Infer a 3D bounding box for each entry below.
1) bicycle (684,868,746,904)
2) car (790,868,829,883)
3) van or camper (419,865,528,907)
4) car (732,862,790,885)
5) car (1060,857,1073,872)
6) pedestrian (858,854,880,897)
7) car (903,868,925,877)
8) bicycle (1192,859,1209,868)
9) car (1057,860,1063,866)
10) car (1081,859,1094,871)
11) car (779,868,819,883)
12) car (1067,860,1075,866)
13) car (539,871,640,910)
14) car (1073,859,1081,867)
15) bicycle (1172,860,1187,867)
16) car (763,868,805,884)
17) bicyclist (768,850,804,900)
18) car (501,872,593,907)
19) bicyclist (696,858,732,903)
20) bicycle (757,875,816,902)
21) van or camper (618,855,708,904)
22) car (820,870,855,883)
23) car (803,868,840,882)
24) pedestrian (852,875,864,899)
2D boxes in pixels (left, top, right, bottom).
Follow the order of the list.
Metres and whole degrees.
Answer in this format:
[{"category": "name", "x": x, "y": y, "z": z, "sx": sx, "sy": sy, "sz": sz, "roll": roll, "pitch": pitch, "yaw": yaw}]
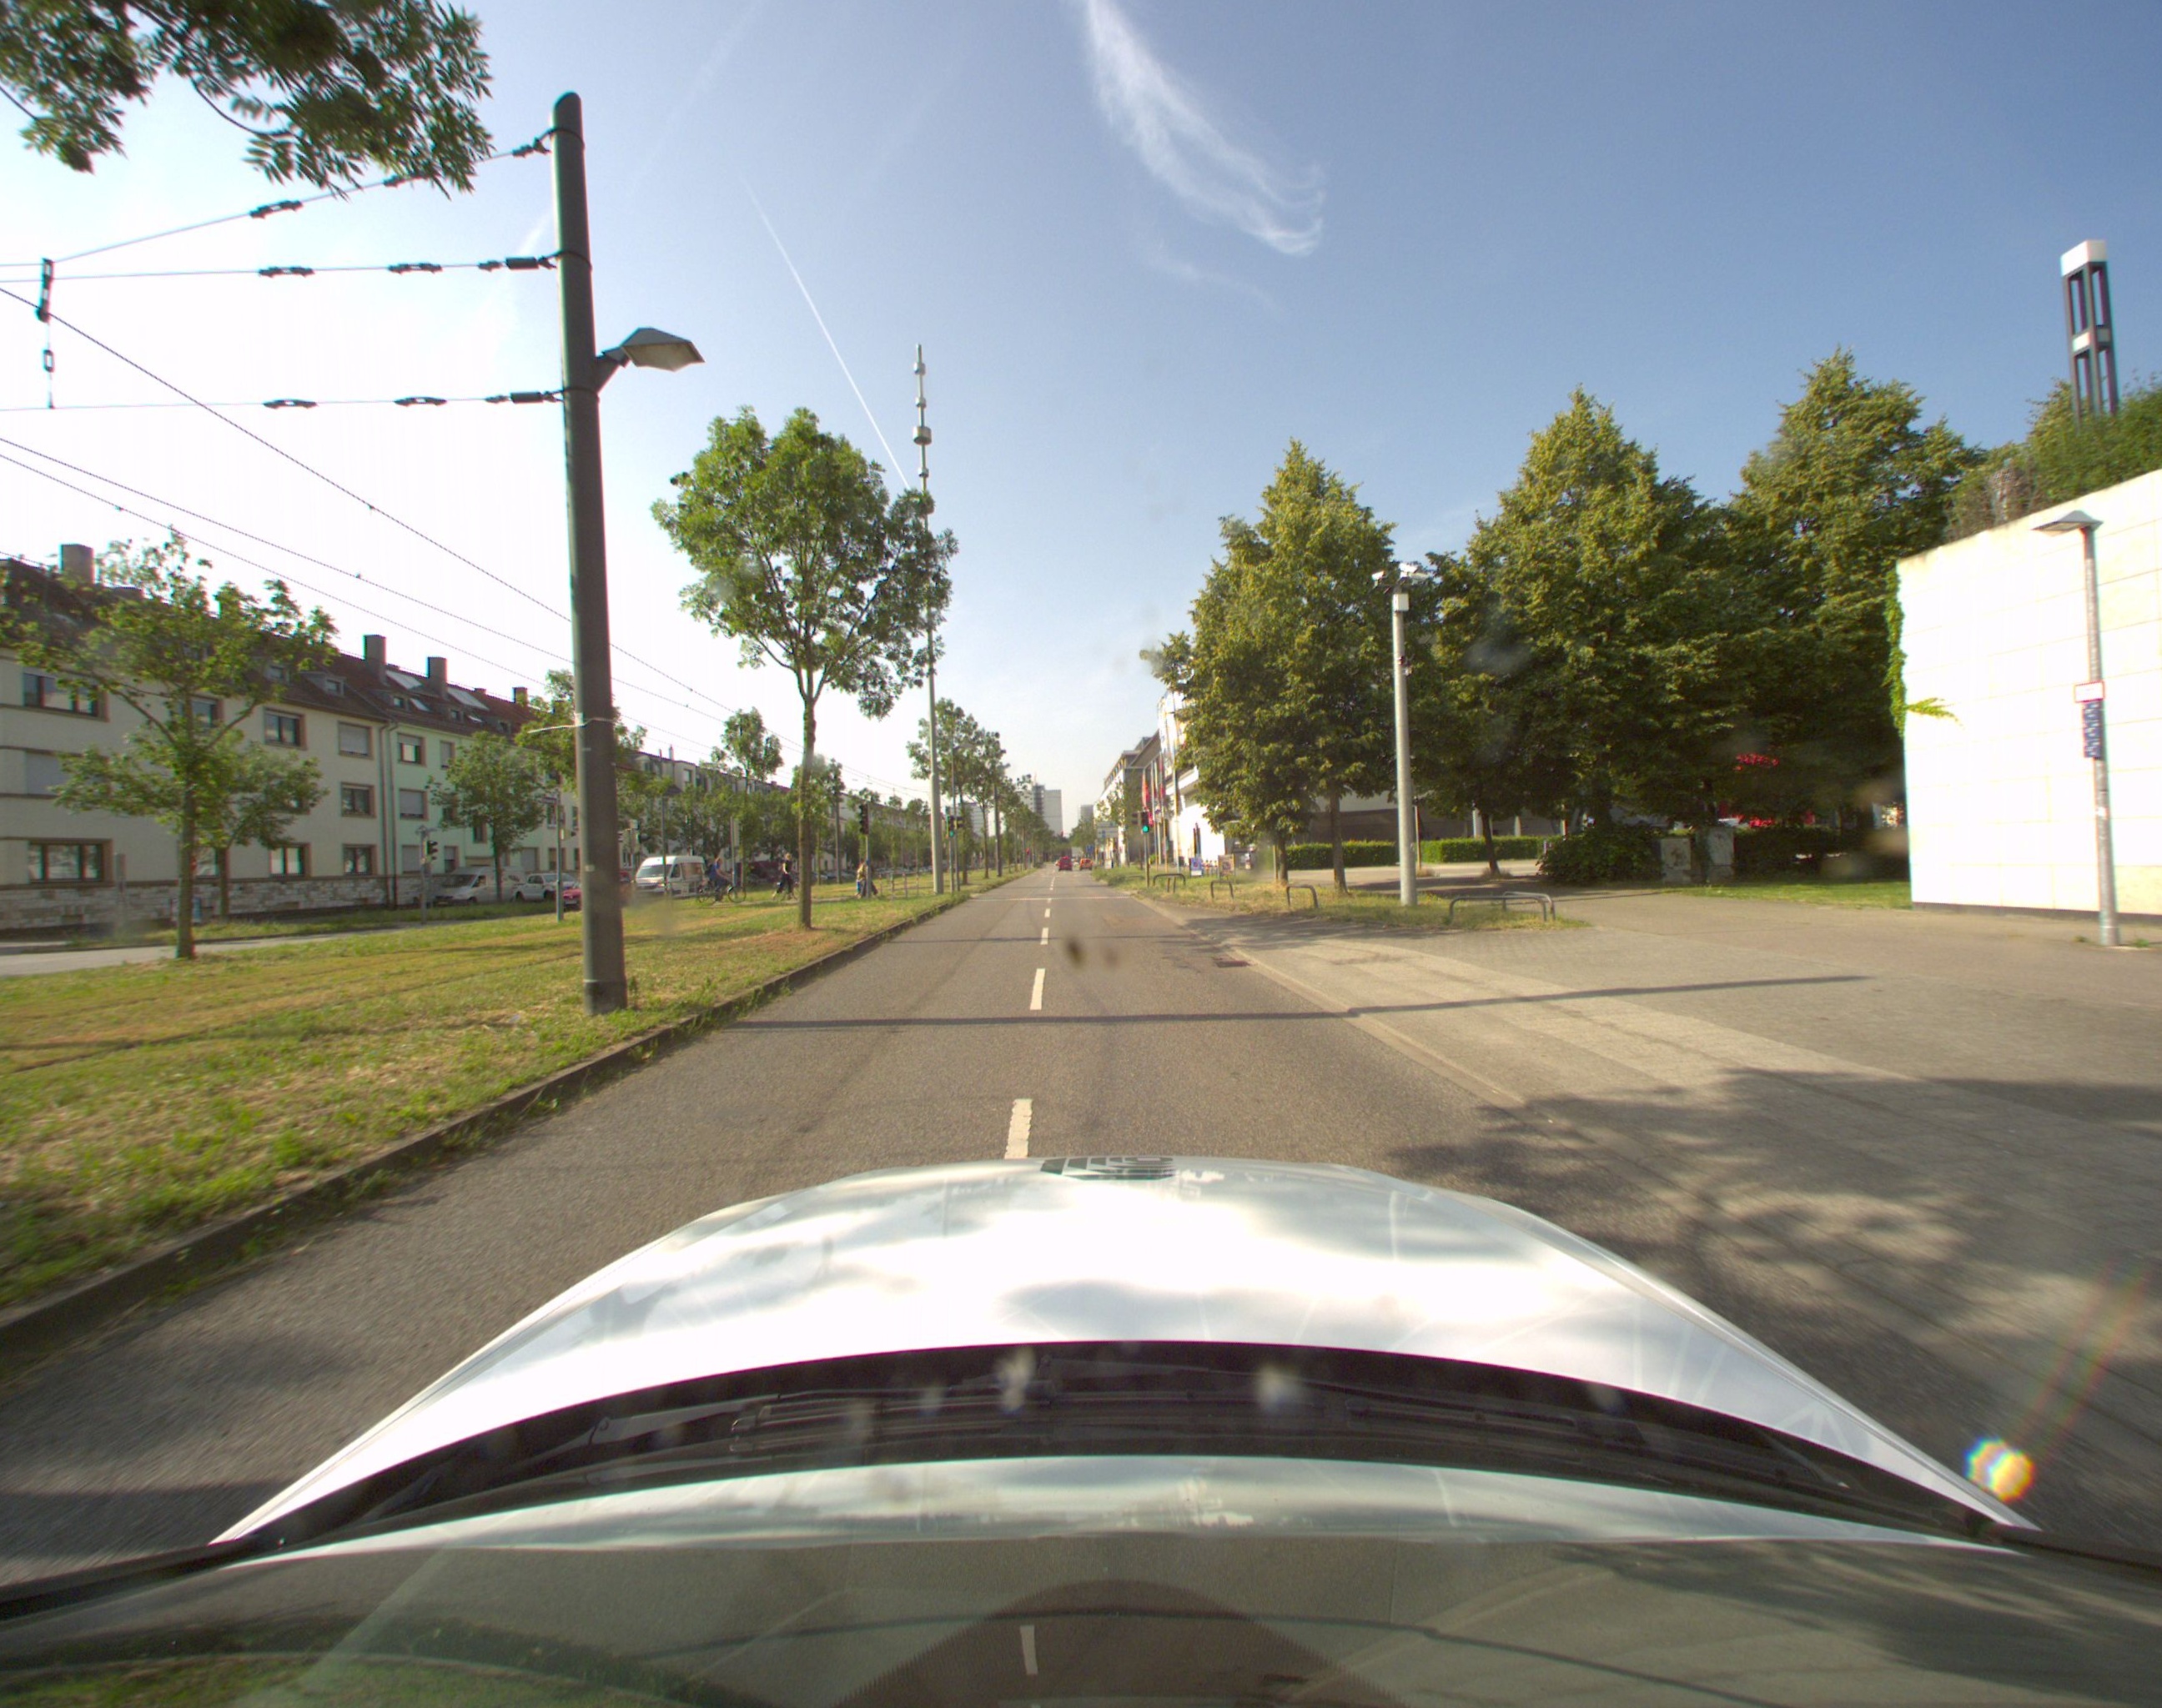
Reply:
[{"category": "bicycle", "x": -14.315, "y": 1.242, "z": 31.904, "sx": 2.065, "sy": 1.324, "sz": 0.781, "roll": -2, "pitch": -1, "yaw": -9}, {"category": "car", "x": -28.928, "y": 2.257, "z": 86.883, "sx": 3.951, "sy": 1.530, "sz": 1.472, "roll": -1, "pitch": -1, "yaw": 24}, {"category": "van or camper", "x": -35.535, "y": 1.793, "z": 47.895, "sx": 1.987, "sy": 2.328, "sz": 5.827, "roll": 0, "pitch": -1, "yaw": 0}, {"category": "car", "x": -29.388, "y": 1.753, "z": 74.773, "sx": 5.171, "sy": 2.014, "sz": 1.887, "roll": -1, "pitch": -1, "yaw": 24}, {"category": "car", "x": -2.009, "y": 1.452, "z": 111.952, "sx": 1.743, "sy": 2.014, "sz": 3.214, "roll": 0, "pitch": -1, "yaw": -1}, {"category": "pedestrian", "x": -7.906, "y": 0.807, "z": 30.371, "sx": 0.623, "sy": 1.572, "sz": 0.710, "roll": 0, "pitch": -1, "yaw": -1}, {"category": "car", "x": -33.569, "y": 3.711, "z": 163.779, "sx": 3.951, "sy": 1.596, "sz": 1.664, "roll": -1, "pitch": -1, "yaw": 24}, {"category": "bicycle", "x": 11.708, "y": 0.949, "z": 79.969, "sx": 1.618, "sy": 0.888, "sz": 0.550, "roll": 0, "pitch": -1, "yaw": -4}, {"category": "car", "x": -5.851, "y": 2.556, "z": 229.119, "sx": 1.743, "sy": 1.650, "sz": 3.214, "roll": 0, "pitch": -1, "yaw": -1}, {"category": "car", "x": 0.952, "y": 1.573, "z": 118.706, "sx": 1.743, "sy": 1.650, "sz": 3.214, "roll": 0, "pitch": -1, "yaw": -1}, {"category": "car", "x": -29.032, "y": 2.222, "z": 83.787, "sx": 3.951, "sy": 1.530, "sz": 1.472, "roll": -1, "pitch": -1, "yaw": 24}, {"category": "car", "x": -2.434, "y": 2.211, "z": 198.946, "sx": 1.744, "sy": 1.650, "sz": 3.212, "roll": 0, "pitch": -1, "yaw": -3}, {"category": "car", "x": -22.771, "y": 1.652, "z": 37.969, "sx": 1.957, "sy": 1.694, "sz": 4.299, "roll": 0, "pitch": -1, "yaw": 2}, {"category": "car", "x": -0.807, "y": 1.910, "z": 173.190, "sx": 1.743, "sy": 1.650, "sz": 3.214, "roll": 0, "pitch": -1, "yaw": -1}, {"category": "bicycle", "x": 11.445, "y": 1.120, "z": 94.750, "sx": 1.618, "sy": 0.888, "sz": 0.550, "roll": 0, "pitch": -1, "yaw": -4}, {"category": "car", "x": -29.567, "y": 2.192, "z": 80.998, "sx": 3.951, "sy": 1.530, "sz": 1.472, "roll": -1, "pitch": -1, "yaw": 24}, {"category": "bicyclist", "x": -11.566, "y": 0.818, "z": 31.944, "sx": 1.142, "sy": 1.934, "sz": 0.687, "roll": 0, "pitch": -1, "yaw": 3}, {"category": "car", "x": -28.341, "y": 1.848, "z": 43.194, "sx": 5.258, "sy": 1.738, "sz": 2.012, "roll": -1, "pitch": -1, "yaw": 32}, {"category": "bicyclist", "x": -14.370, "y": 1.023, "z": 31.918, "sx": 1.146, "sy": 1.762, "sz": 0.684, "roll": 0, "pitch": -1, "yaw": -8}, {"category": "bicycle", "x": -11.526, "y": 1.351, "z": 31.874, "sx": 2.058, "sy": 1.042, "sz": 0.668, "roll": 0, "pitch": -1, "yaw": 2}, {"category": "van or camper", "x": -22.896, "y": 1.336, "z": 44.910, "sx": 2.199, "sy": 2.531, "sz": 6.021, "roll": 0, "pitch": -1, "yaw": -4}, {"category": "car", "x": -29.141, "y": 2.681, "z": 97.443, "sx": 3.951, "sy": 1.596, "sz": 1.664, "roll": -1, "pitch": -1, "yaw": 24}, {"category": "car", "x": -29.155, "y": 2.311, "z": 91.438, "sx": 3.951, "sy": 1.530, "sz": 1.472, "roll": -1, "pitch": -1, "yaw": 24}, {"category": "pedestrian", "x": -8.415, "y": 1.251, "z": 30.774, "sx": 0.340, "sy": 0.875, "sz": 0.461, "roll": 0, "pitch": -1, "yaw": -1}]
